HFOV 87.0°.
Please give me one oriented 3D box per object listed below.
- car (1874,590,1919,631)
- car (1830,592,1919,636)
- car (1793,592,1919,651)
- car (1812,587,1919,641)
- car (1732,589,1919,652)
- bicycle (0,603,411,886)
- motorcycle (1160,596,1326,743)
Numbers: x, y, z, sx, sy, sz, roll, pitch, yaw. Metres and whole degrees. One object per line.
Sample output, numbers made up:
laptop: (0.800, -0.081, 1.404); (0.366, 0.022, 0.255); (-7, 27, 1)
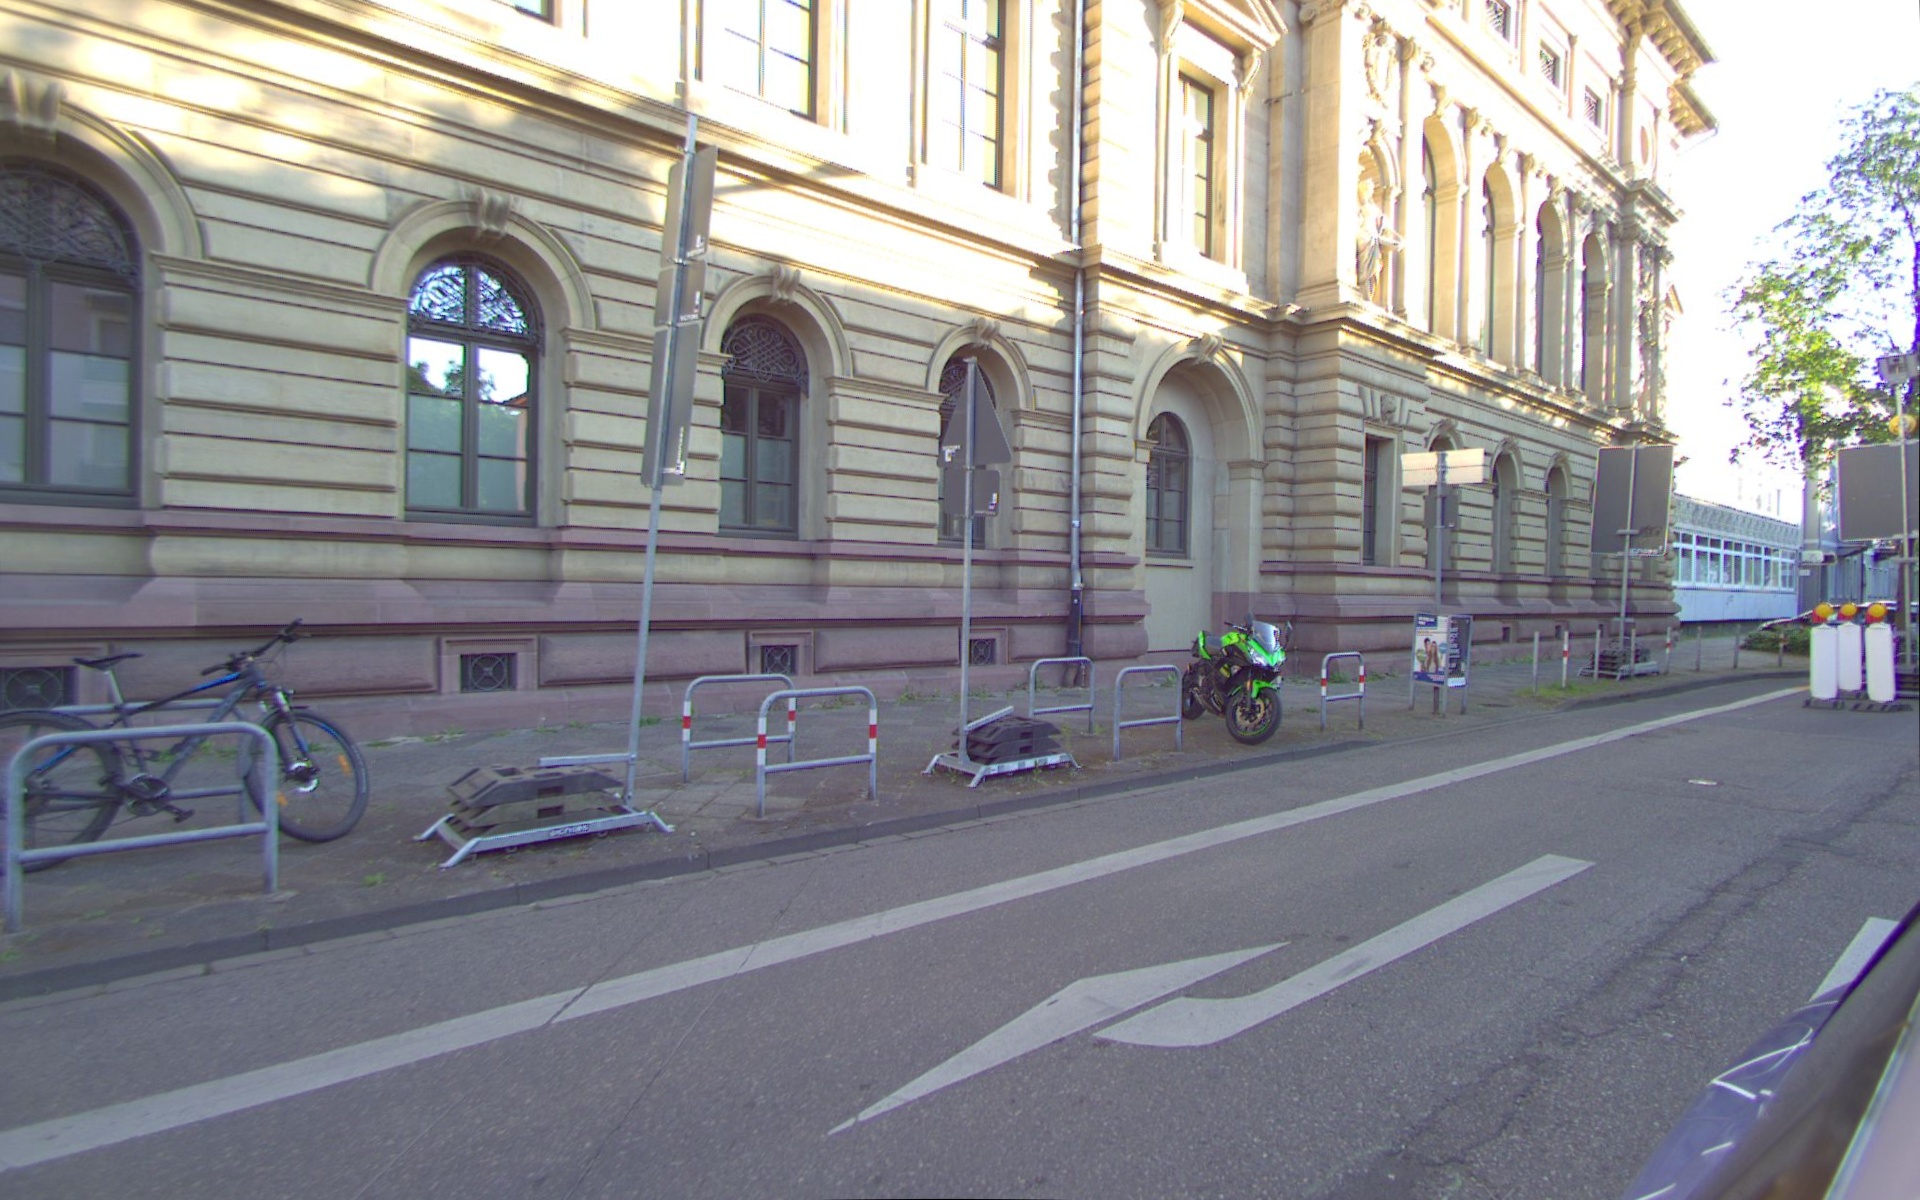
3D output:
car: (40.852, 0.519, 41.854); (1.704, 1.644, 4.364); (0, 3, -43)
car: (36.683, 0.563, 39.158); (1.855, 1.511, 4.364); (0, 3, -43)
car: (28.090, 0.664, 30.484); (1.643, 1.513, 4.367); (0, 4, -41)
car: (32.543, 0.509, 35.058); (2.020, 1.662, 4.364); (0, 4, -43)
car: (25.470, 0.550, 29.583); (1.804, 1.482, 4.362); (0, 4, -44)
bicycle: (-3.885, 0.621, 5.008); (1.910, 1.148, 0.829); (0, 4, -41)
motorcycle: (2.788, 0.634, 10.273); (0.695, 1.229, 2.109); (2, 3, -11)
